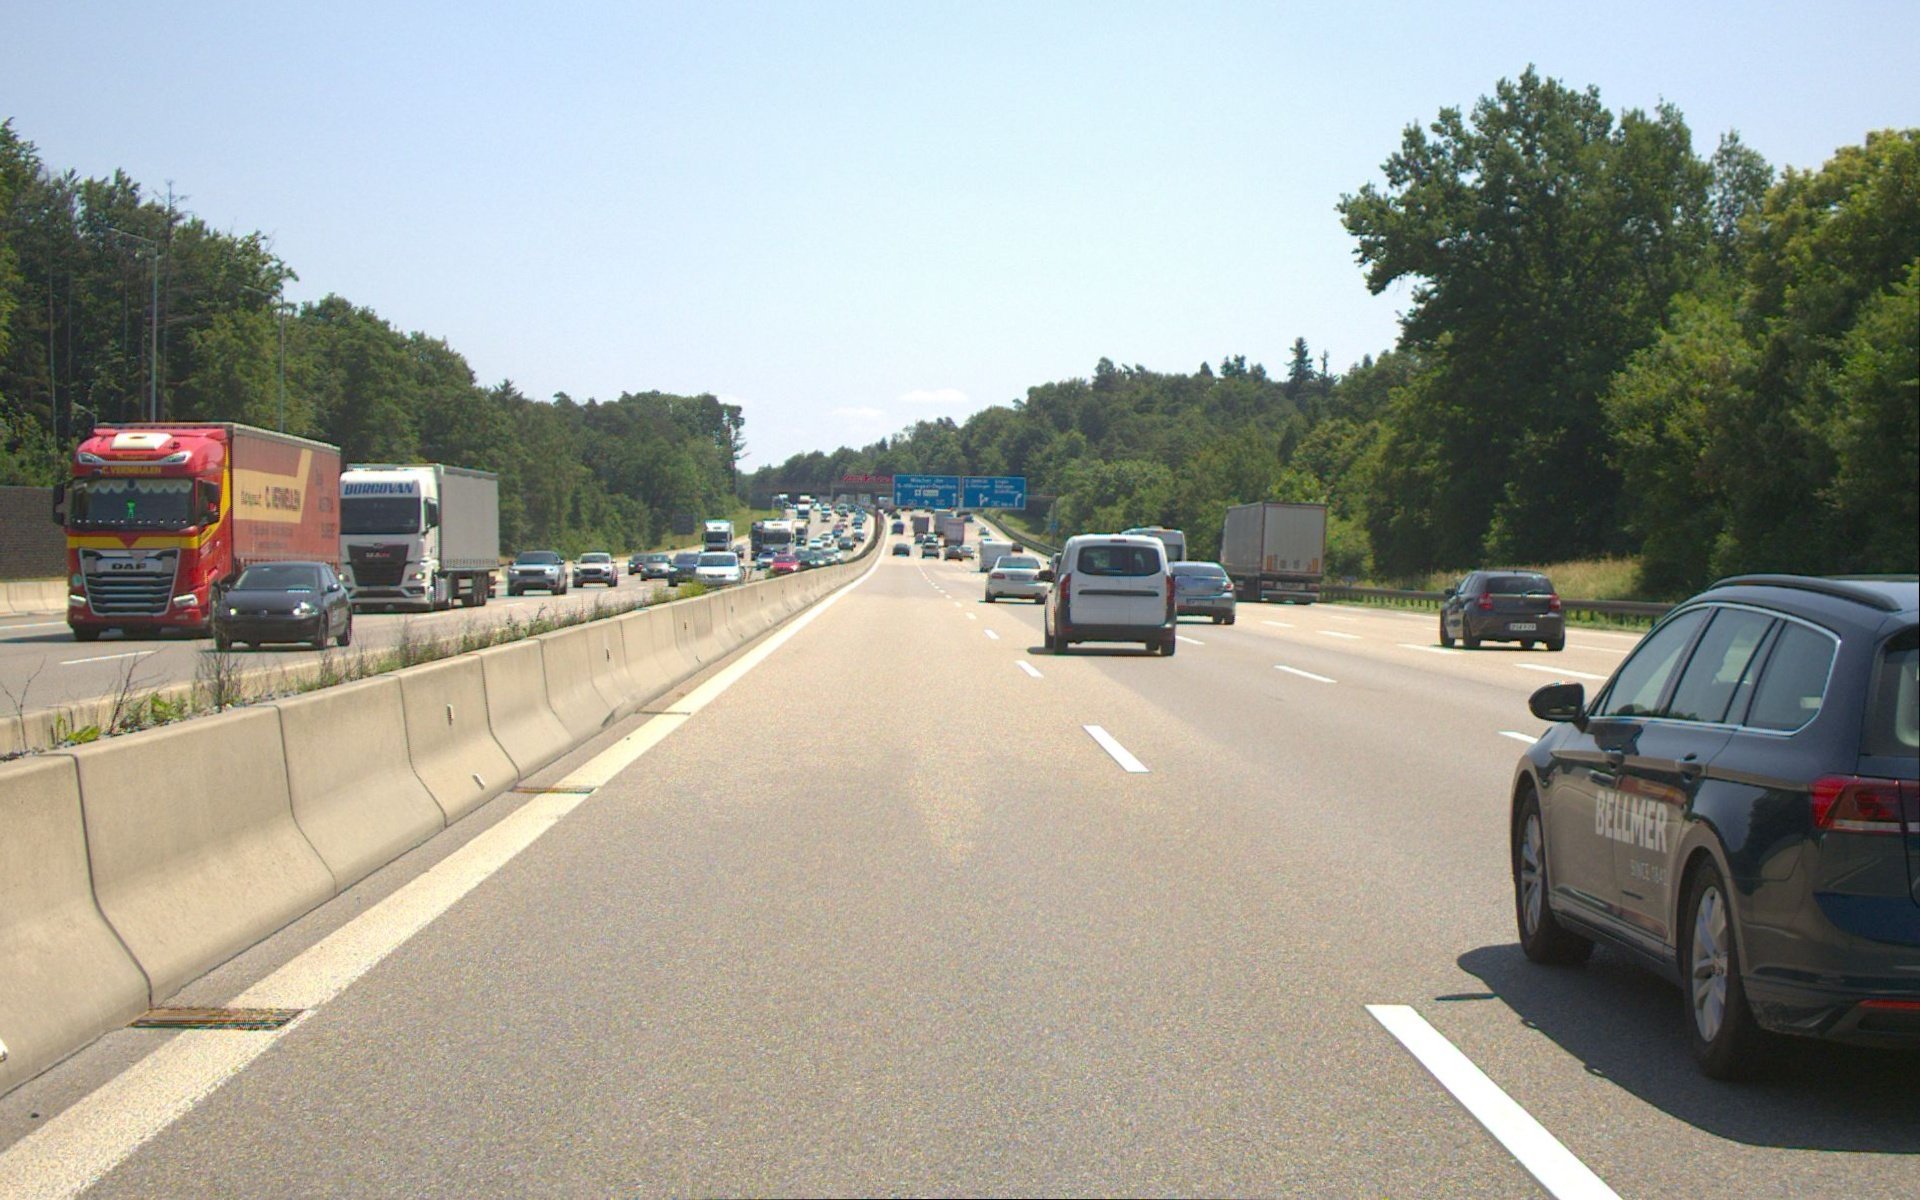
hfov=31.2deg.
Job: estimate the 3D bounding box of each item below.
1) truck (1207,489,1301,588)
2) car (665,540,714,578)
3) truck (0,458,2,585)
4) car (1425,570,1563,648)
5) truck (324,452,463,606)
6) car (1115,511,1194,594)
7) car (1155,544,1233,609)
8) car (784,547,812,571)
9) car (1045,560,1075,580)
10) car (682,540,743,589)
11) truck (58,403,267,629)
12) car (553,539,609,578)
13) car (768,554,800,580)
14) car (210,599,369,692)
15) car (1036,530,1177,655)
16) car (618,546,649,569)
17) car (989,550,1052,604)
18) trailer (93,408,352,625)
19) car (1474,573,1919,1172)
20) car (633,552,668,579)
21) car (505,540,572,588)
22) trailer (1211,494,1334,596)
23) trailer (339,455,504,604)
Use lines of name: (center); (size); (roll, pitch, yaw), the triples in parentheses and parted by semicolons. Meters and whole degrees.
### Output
truck: (12.769, -2.717, 149.793); (3.254, 4.092, 5.988); (3, 2, -1)
car: (-13.039, -1.977, 165.923); (1.993, 1.768, 5.924); (1, 1, -1)
truck: (-49.143, -3.482, 146.268); (3.449, 5.593, 16.667); (2, 1, 44)
car: (9.517, 0.137, 61.517); (1.670, 1.269, 4.290); (2, 1, -1)
truck: (-15.261, -1.887, 93.051); (2.734, 4.017, 6.782); (0, 1, -1)
car: (6.469, -1.624, 114.742); (2.143, 2.643, 5.710); (2, 2, -1)
car: (5.463, -0.559, 80.574); (1.503, 1.495, 3.650); (0, 1, -1)
car: (-11.477, -2.928, 243.918); (1.993, 1.657, 5.755); (0, 1, -3)
car: (6.689, -1.994, 230.571); (1.835, 1.333, 3.643); (0, 1, -1)
car: (-9.263, -1.351, 128.750); (1.993, 1.768, 5.039); (1, 1, -1)
truck: (-14.974, -1.562, 64.935); (2.527, 4.035, 6.473); (0, 1, -1)
car: (-17.491, -1.928, 158.871); (1.993, 1.768, 5.924); (1, 1, -1)
car: (-10.747, -2.029, 210.146); (1.730, 1.508, 5.045); (1, 1, -1)
car: (-10.923, 0.716, 56.252); (1.821, 1.382, 4.316); (0, 1, -1)
car: (2.205, -0.151, 52.731); (1.859, 1.819, 4.612); (0, 1, -1)
car: (-23.338, -3.020, 245.693); (1.993, 1.615, 4.215); (0, 1, -3)
car: (1.854, -0.733, 106.905); (1.843, 1.623, 4.553); (0, 1, 0)
trailer: (-15.113, -1.673, 71.657); (2.571, 4.036, 14.183); (0, 1, -1)
car: (2.902, 0.659, 11.036); (1.729, 1.442, 4.961); (0, 1, 0)
car: (-18.078, -2.026, 201.238); (1.730, 1.508, 4.171); (1, 1, -1)
car: (-15.985, -1.375, 130.628); (1.993, 1.768, 5.039); (1, 1, -1)
trailer: (12.900, -2.386, 143.252); (3.287, 3.917, 13.892); (3, 2, -2)
trailer: (-15.427, -2.002, 99.573); (2.754, 3.987, 14.468); (0, 1, -1)
